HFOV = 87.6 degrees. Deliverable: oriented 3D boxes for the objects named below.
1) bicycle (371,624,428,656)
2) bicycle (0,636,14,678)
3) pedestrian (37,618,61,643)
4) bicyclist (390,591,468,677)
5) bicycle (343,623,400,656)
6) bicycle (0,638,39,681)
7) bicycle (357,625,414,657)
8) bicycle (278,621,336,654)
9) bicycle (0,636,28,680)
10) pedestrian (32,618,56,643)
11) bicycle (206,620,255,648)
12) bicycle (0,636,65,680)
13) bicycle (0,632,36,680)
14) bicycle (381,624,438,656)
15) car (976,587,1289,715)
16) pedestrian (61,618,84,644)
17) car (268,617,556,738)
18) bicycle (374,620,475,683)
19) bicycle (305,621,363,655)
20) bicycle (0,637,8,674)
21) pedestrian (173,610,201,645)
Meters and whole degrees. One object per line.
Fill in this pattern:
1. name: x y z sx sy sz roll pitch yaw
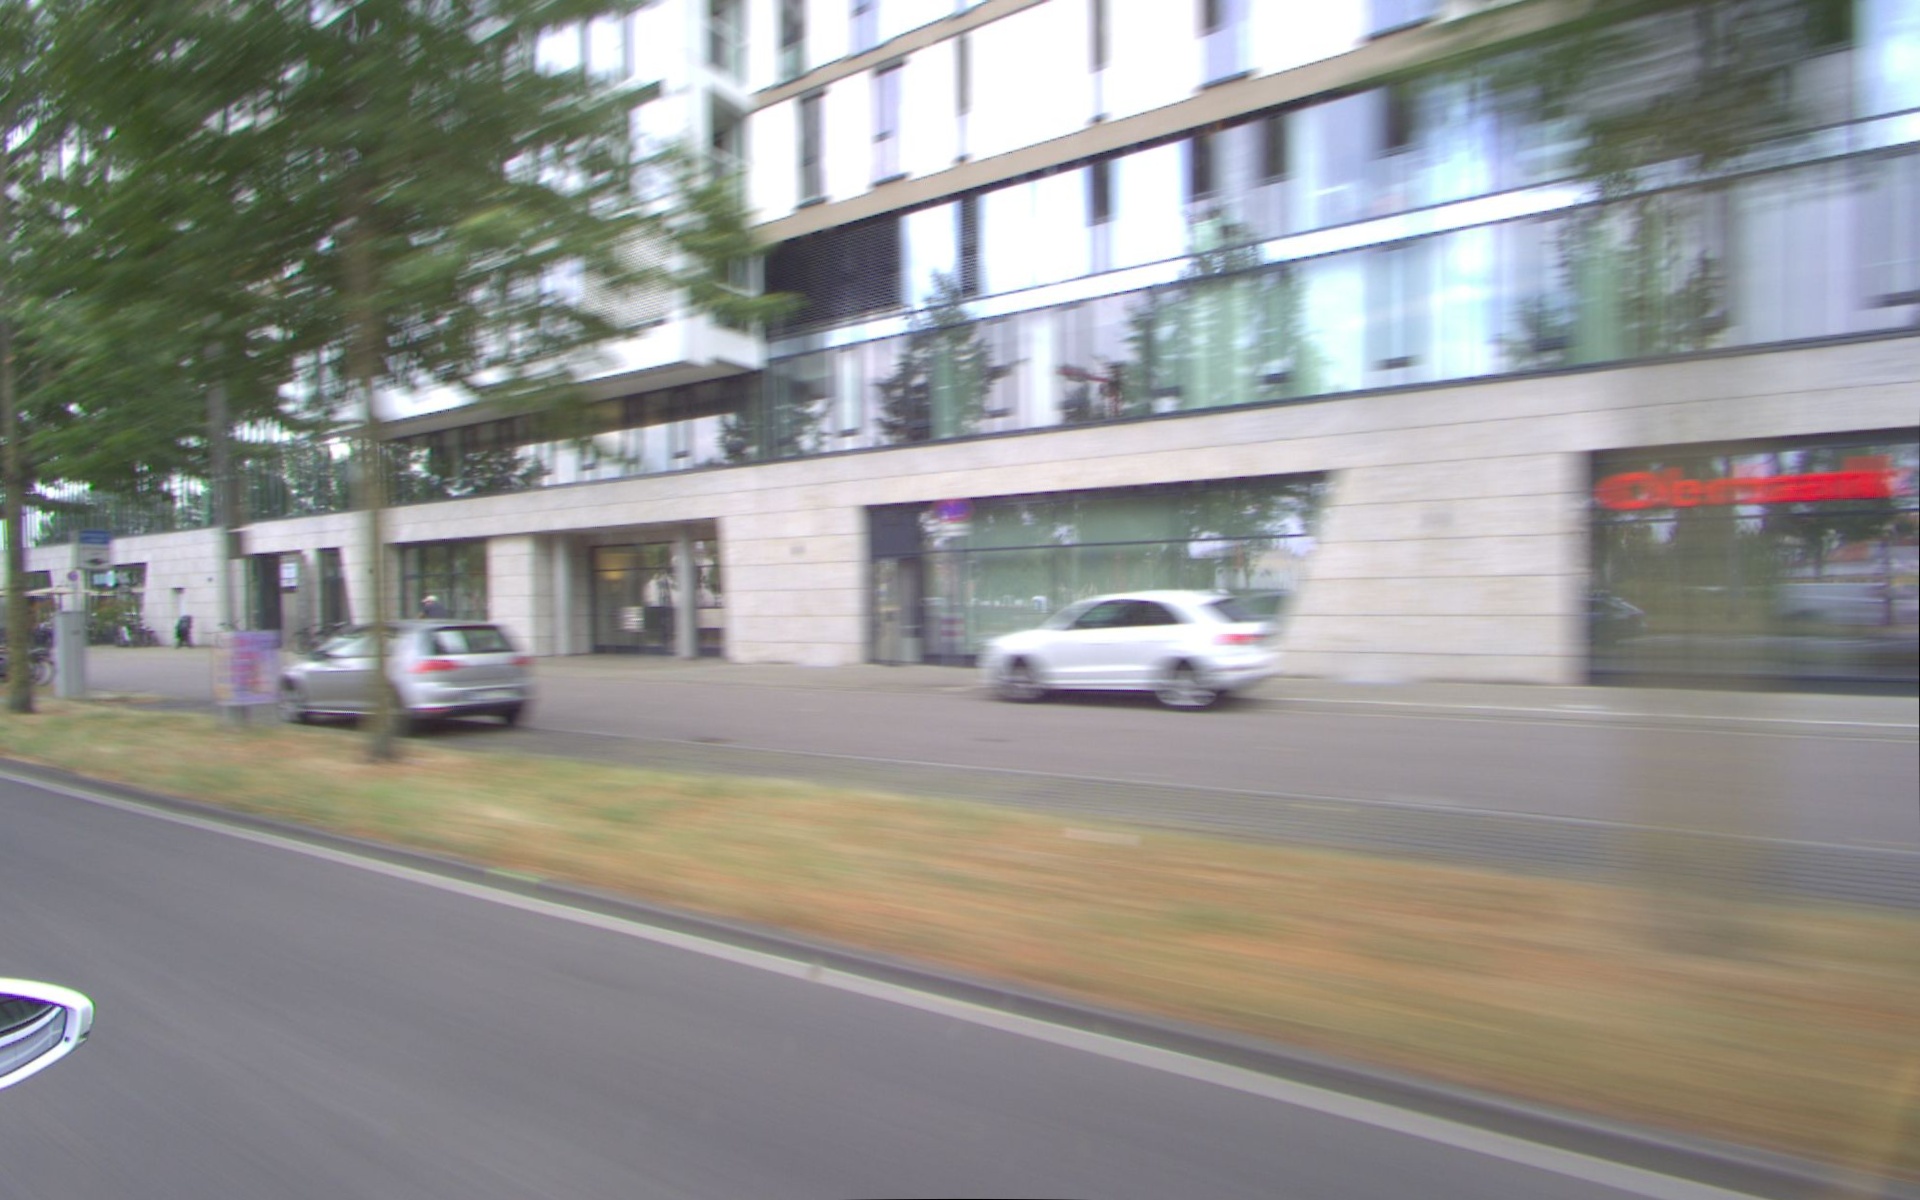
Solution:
1. bicycle: -17.779 1.253 31.790 0.525 0.966 1.527 0 0 29
2. bicycle: -23.777 1.346 23.795 0.600 1.024 1.774 0 -3 24
3. pedestrian: -46.150 1.539 50.722 0.748 1.208 0.717 0 1 34
4. bicyclist: -11.529 0.724 21.744 1.113 1.761 0.994 0 3 32
5. bicycle: -19.236 1.273 32.743 0.525 1.040 1.527 0 0 29
6. bicycle: -21.896 1.340 22.603 0.477 0.965 1.528 0 -2 29
7. bicycle: -18.475 1.313 32.209 0.525 0.966 1.527 0 0 29
8. bicycle: -22.442 1.270 34.427 0.525 1.040 1.595 0 1 29
9. bicycle: -23.156 1.358 23.500 0.600 1.025 1.773 0 -2 24
10. pedestrian: -46.846 1.556 51.191 0.748 1.208 0.717 0 1 32
11. bicycle: -28.247 1.306 38.816 0.599 1.040 1.602 -1 1 6
12. bicycle: -21.120 1.283 22.408 0.544 0.965 1.528 0 -2 29
13. bicycle: -22.473 1.286 23.048 0.517 1.104 1.667 0 -2 29
14. bicycle: -17.285 1.241 31.455 0.525 0.966 1.527 0 0 29
15. car: 2.510 0.670 14.881 4.180 1.610 1.852 -1 2 33
16. pedestrian: -40.997 1.423 46.258 0.767 1.208 1.096 -1 1 -42
17. car: -7.597 0.958 13.788 4.124 1.440 1.756 -1 -1 33
18. bicycle: -11.700 1.091 21.859 2.235 1.252 0.899 -1 3 32
19. bicycle: -20.902 1.253 33.461 0.525 1.040 1.595 0 1 29
20. bicycle: -24.328 1.343 24.266 0.579 0.917 1.716 0 -3 24
21. pedestrian: -31.524 1.110 40.839 0.712 1.425 0.753 0 1 40
